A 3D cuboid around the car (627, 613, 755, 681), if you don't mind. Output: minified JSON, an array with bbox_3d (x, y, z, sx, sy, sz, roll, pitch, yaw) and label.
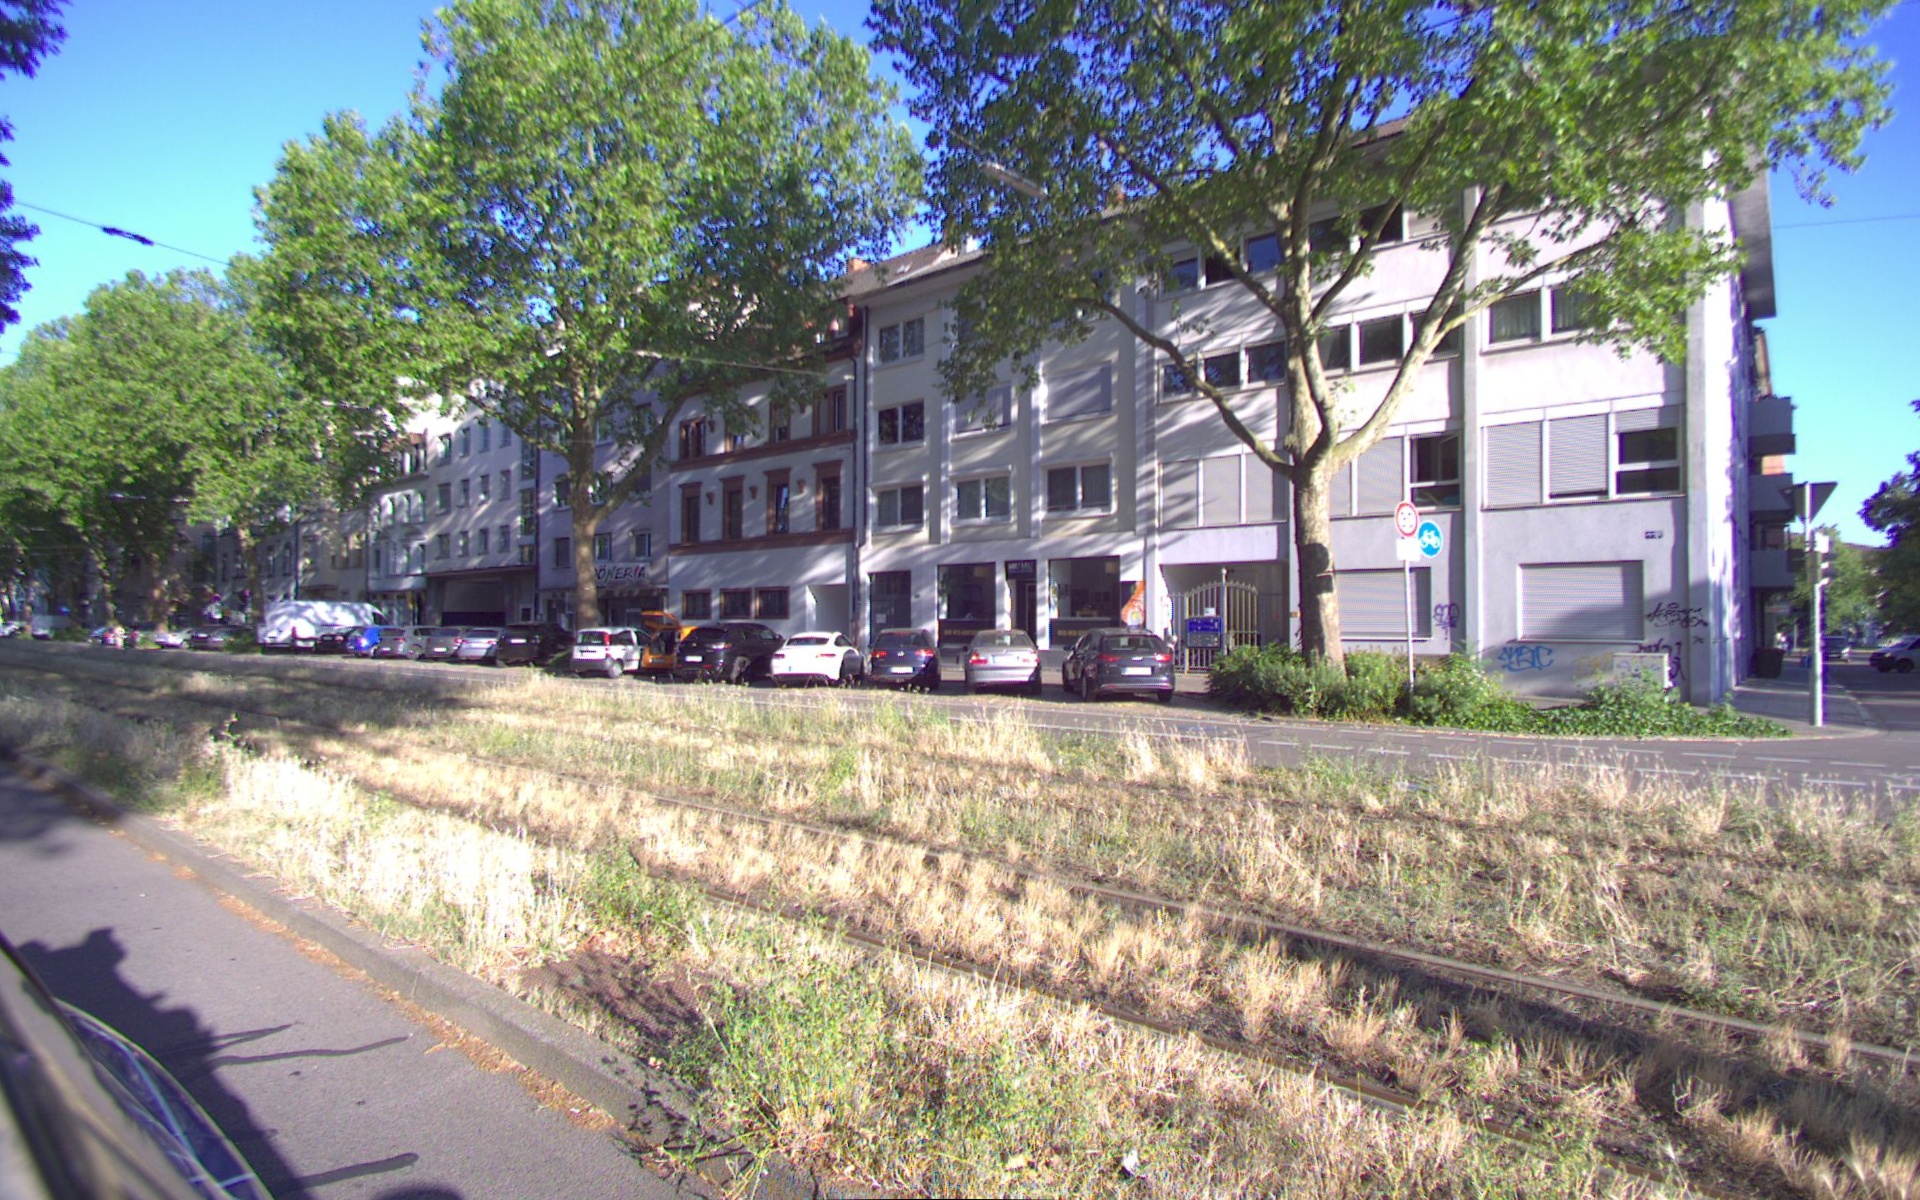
[{"bbox_3d":[-8.330,1.438,31.707,1.508,1.958,4.221,-1,-2,25],"label":"car"}]

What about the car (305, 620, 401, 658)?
[{"bbox_3d":[-30.650,1.962,51.243,1.980,1.830,3.982,0,-2,13],"label":"car"}]

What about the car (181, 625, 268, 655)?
[{"bbox_3d":[-45.126,2.436,62.219,1.980,1.830,3.982,0,-2,13],"label":"car"}]

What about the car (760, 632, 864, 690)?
[{"bbox_3d":[-3.777,1.544,26.605,2.123,1.388,4.257,0,-2,0],"label":"car"}]

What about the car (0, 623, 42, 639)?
[{"bbox_3d":[-106.572,3.500,114.460,3.937,1.827,1.876,2,-2,-40],"label":"car"}]

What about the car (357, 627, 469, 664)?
[{"bbox_3d":[-23.837,1.950,44.260,1.985,1.530,3.973,0,-2,20],"label":"car"}]

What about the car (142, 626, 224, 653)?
[{"bbox_3d":[-51.808,2.613,67.536,1.980,1.719,3.982,0,-2,13],"label":"car"}]

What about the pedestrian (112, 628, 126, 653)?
[{"bbox_3d":[-54.627,2.632,65.746,0.422,1.610,0.612,-1,-2,41],"label":"pedestrian"}]

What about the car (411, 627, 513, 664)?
[{"bbox_3d":[-20.446,1.847,41.781,1.883,1.468,4.251,0,-2,4],"label":"car"}]

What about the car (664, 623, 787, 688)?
[{"bbox_3d":[-6.483,1.505,28.525,2.126,1.697,4.250,0,-2,6],"label":"car"}]

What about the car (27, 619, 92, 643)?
[{"bbox_3d":[-88.309,3.038,99.352,2.071,2.230,4.943,0,-2,-2],"label":"car"}]

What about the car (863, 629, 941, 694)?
[{"bbox_3d":[-1.444,1.500,25.591,1.805,1.516,3.973,0,-2,-2],"label":"car"}]

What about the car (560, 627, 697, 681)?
[{"bbox_3d":[-10.264,1.636,31.659,1.634,1.569,4.221,-1,-2,25],"label":"car"}]

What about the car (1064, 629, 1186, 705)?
[{"bbox_3d":[3.330,1.333,21.163,1.746,1.443,3.973,0,-2,-2],"label":"car"}]

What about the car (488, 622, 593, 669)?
[{"bbox_3d":[-15.318,1.633,37.239,1.883,1.626,4.252,0,-2,4],"label":"car"}]

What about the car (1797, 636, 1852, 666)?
[{"bbox_3d":[62.831,3.689,73.649,1.991,2.029,5.371,-1,-2,29],"label":"car"}]

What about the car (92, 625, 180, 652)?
[{"bbox_3d":[-54.576,2.529,67.091,1.996,1.719,4.184,-1,-2,36],"label":"car"}]

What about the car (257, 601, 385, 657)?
[{"bbox_3d":[-33.073,1.519,52.611,2.161,2.721,5.583,0,-2,16],"label":"car"}]

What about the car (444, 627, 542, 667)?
[{"bbox_3d":[-18.110,1.802,39.470,1.582,1.470,4.251,0,-2,4],"label":"car"}]

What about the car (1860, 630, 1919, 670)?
[{"bbox_3d":[49.333,2.514,51.129,5.375,2.029,1.990,0,-2,16],"label":"car"}]

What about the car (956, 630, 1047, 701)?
[{"bbox_3d":[0.864,1.443,23.327,1.717,1.443,3.973,-1,-2,-2],"label":"car"}]

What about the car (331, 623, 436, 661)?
[{"bbox_3d":[-26.266,1.898,46.232,1.980,1.630,3.982,0,-2,13],"label":"car"}]

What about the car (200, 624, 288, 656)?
[{"bbox_3d":[-42.531,2.382,60.225,1.980,1.830,3.982,0,-2,13],"label":"car"}]
